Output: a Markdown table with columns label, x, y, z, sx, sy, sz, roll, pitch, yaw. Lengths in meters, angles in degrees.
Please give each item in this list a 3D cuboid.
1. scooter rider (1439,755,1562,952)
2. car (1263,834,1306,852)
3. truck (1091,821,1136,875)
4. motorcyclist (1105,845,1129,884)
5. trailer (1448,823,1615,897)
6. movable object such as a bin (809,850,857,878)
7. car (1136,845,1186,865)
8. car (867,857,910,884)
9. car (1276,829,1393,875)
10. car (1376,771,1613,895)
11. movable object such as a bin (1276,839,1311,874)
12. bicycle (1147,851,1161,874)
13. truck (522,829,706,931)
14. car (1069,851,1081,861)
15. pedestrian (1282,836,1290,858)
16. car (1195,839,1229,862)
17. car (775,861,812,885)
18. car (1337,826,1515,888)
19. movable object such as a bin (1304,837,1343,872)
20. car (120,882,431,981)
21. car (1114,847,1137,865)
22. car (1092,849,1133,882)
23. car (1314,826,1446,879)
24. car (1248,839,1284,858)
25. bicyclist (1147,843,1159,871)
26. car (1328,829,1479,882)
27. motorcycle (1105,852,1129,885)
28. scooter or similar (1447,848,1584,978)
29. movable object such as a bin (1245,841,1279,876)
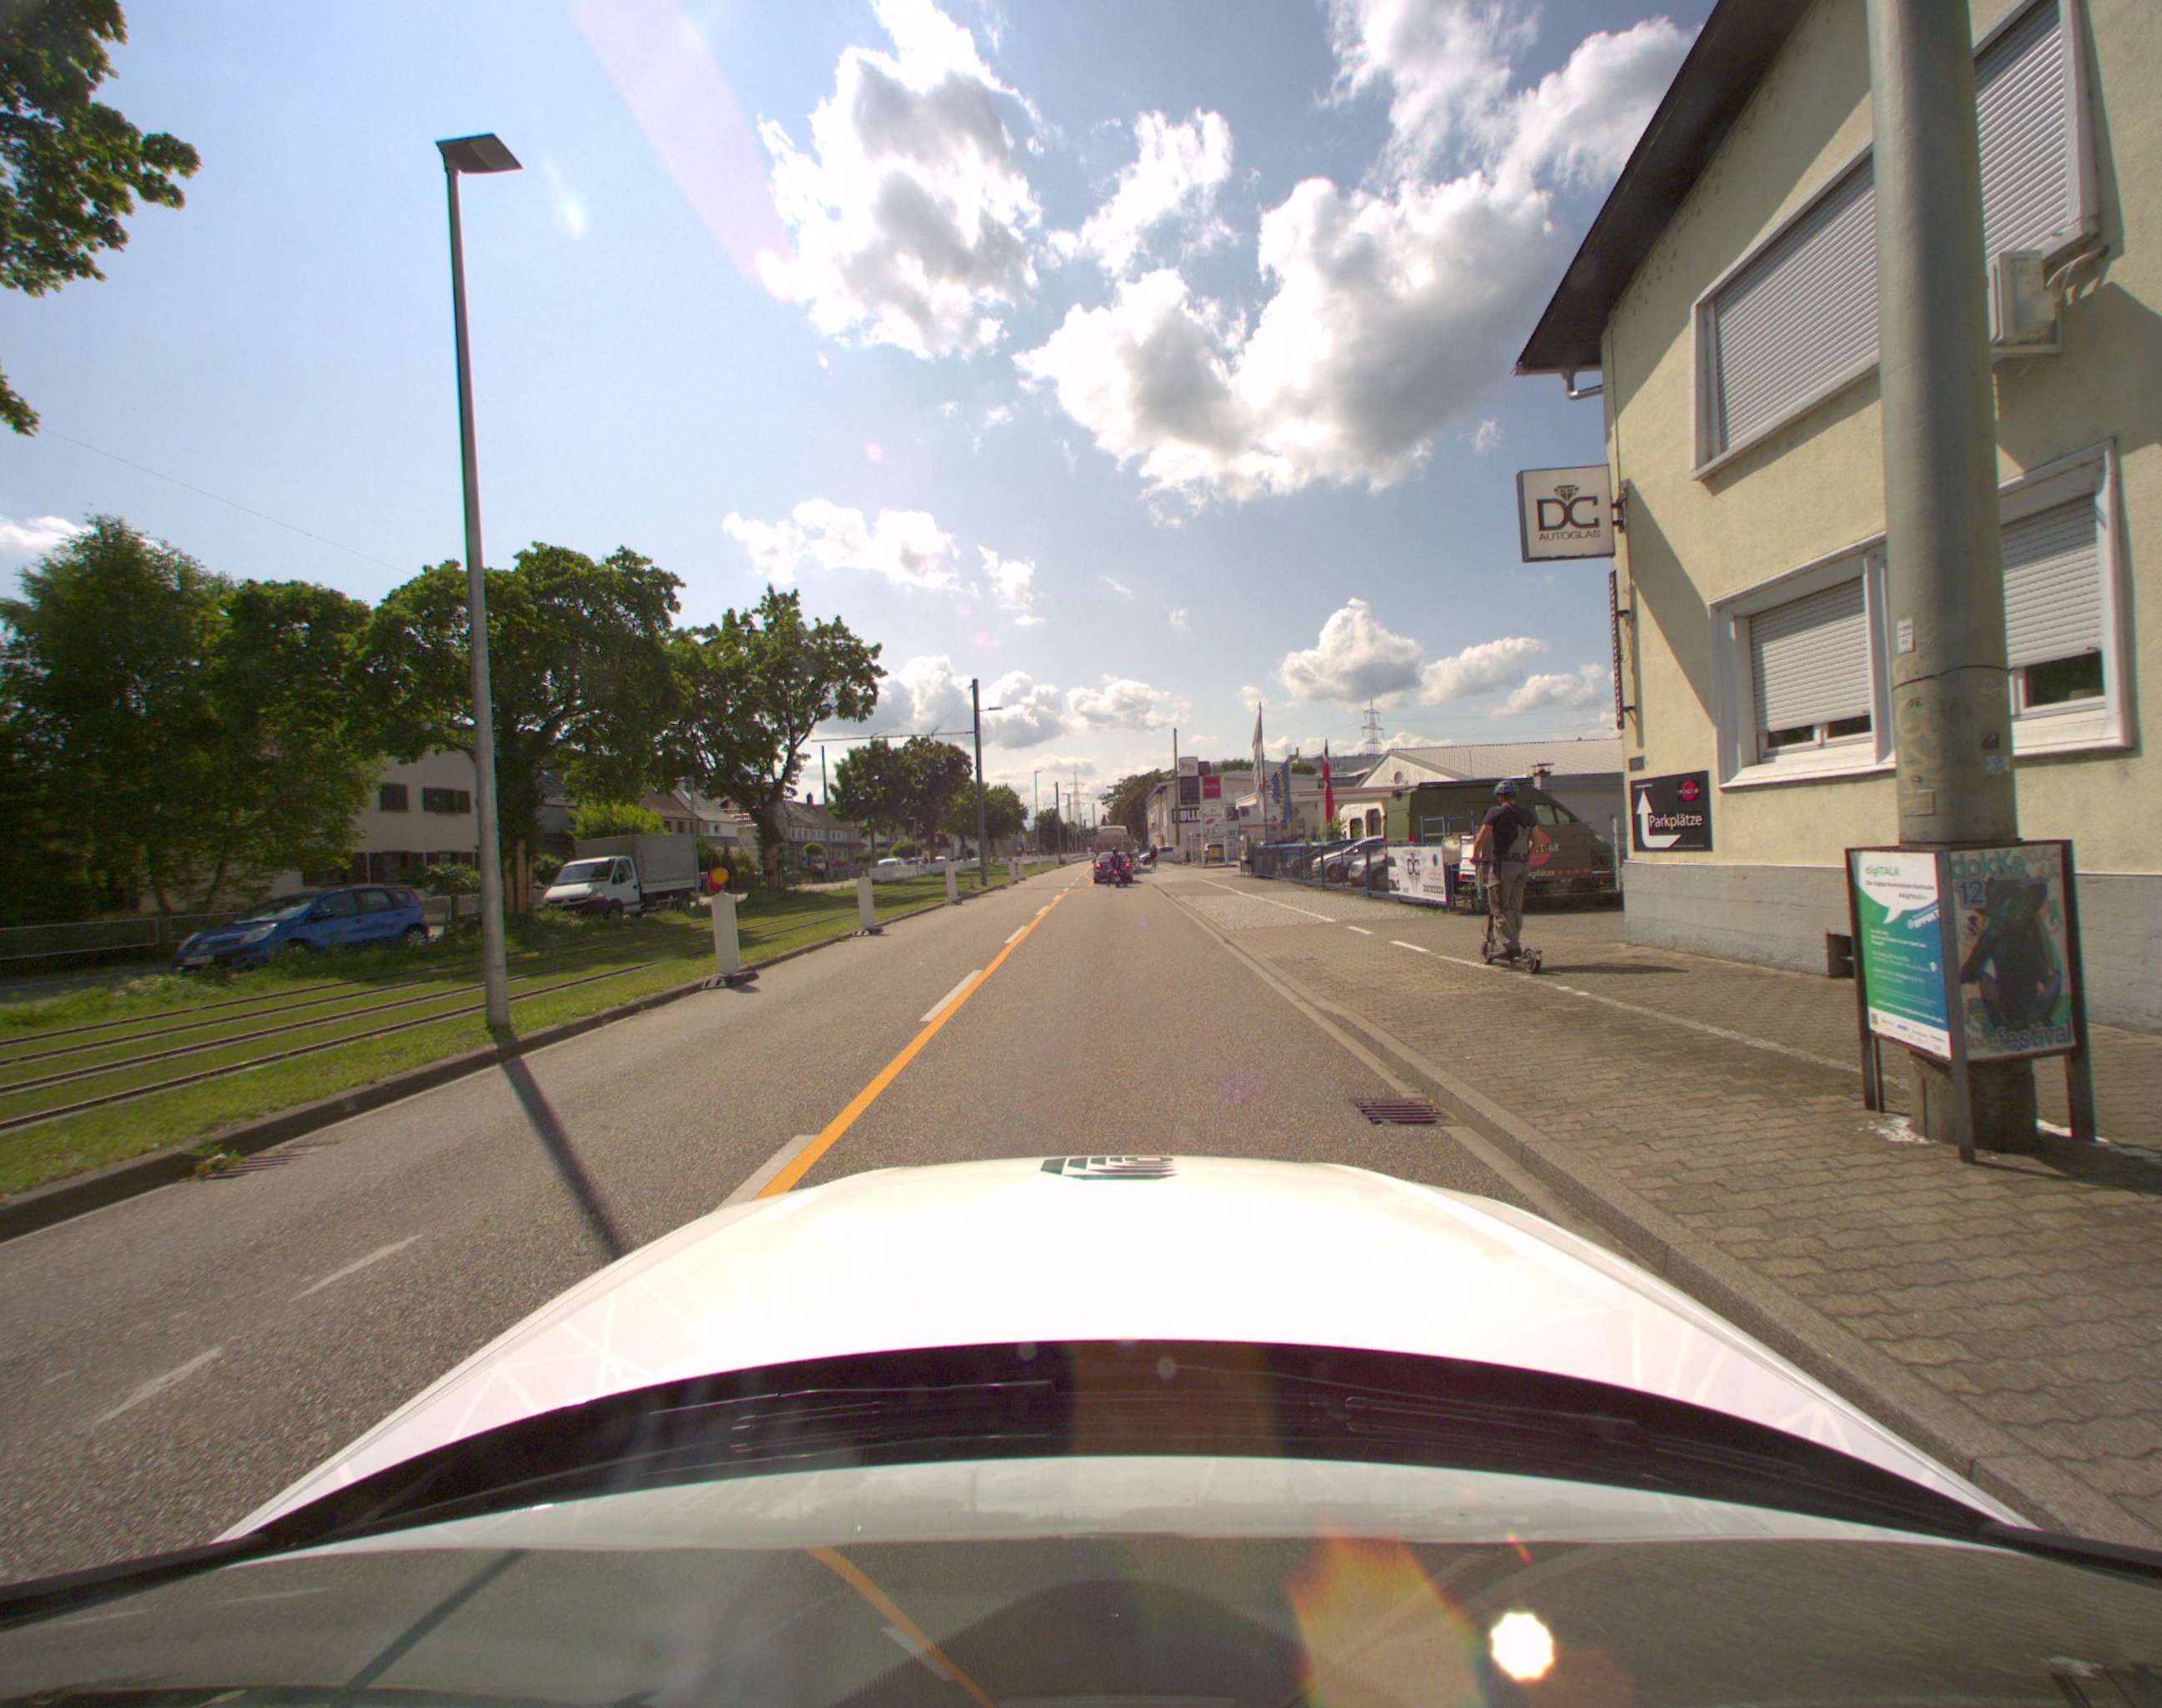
| label | x | y | z | sx | sy | sz | roll | pitch | yaw |
| --- | --- | --- | --- | --- | --- | --- | --- | --- | --- |
| scooter rider | 4.497 | 0.000 | 8.787 | 0.714 | 1.963 | 0.786 | -6 | -2 | 2 |
| car | 21.381 | -1.144 | 85.736 | 3.973 | 1.648 | 1.966 | -4 | -1 | 1 |
| truck | 2.220 | -0.484 | 55.381 | 2.600 | 3.255 | 9.189 | -4 | 1 | 3 |
| motorcyclist | 1.519 | 0.447 | 34.391 | 0.936 | 1.615 | 1.205 | -1 | 0 | 2 |
| trailer | 9.589 | 0.128 | 17.458 | 2.771 | 1.333 | 1.303 | -4 | 0 | 2 |
| movable object such as a bin | -24.508 | 0.999 | 80.441 | 4.351 | 2.449 | 1.777 | -3 | 0 | -20 |
| car | 7.465 | 0.081 | 76.349 | 4.325 | 1.551 | 1.946 | -4 | -1 | -7 |
| car | -14.109 | 1.176 | 59.838 | 1.986 | 1.750 | 4.002 | -4 | 0 | 2 |
| car | 9.386 | -0.051 | 30.167 | 3.954 | 1.442 | 1.719 | -3 | 0 | 19 |
| car | 9.810 | -0.469 | 19.660 | 4.517 | 2.573 | 2.153 | -3 | 0 | 3 |
| movable object such as a bin | 9.426 | 0.117 | 36.164 | 1.251 | 1.444 | 0.824 | -4 | -1 | 2 |
| bicycle | 4.678 | 0.523 | 52.453 | 0.690 | 1.361 | 2.419 | -3 | 0 | 2 |
| truck | -14.997 | 0.717 | 26.792 | 1.986 | 2.767 | 6.279 | -6 | 0 | 2 |
| car | -0.884 | 0.266 | 120.621 | 1.649 | 1.447 | 4.303 | -4 | 0 | 0 |
| pedestrian | 16.200 | -0.555 | 64.288 | 0.395 | 1.689 | 0.486 | -4 | -1 | 3 |
| car | 10.515 | -0.269 | 65.633 | 1.953 | 1.648 | 3.999 | -4 | 0 | 0 |
| car | -22.912 | 1.489 | 65.022 | 1.678 | 1.721 | 3.031 | -4 | 0 | 2 |
| car | 9.377 | 0.084 | 22.451 | 4.159 | 1.431 | 1.825 | -3 | 0 | 8 |
| movable object such as a bin | 10.747 | 0.042 | 36.157 | 1.318 | 1.444 | 0.953 | -4 | -1 | -5 |
| car | -15.340 | 1.389 | 15.897 | 1.987 | 1.453 | 4.000 | -4 | 0 | 0 |
| car | 3.676 | 0.143 | 68.214 | 1.814 | 1.464 | 4.003 | -2 | 0 | 2 |
| car | 1.517 | 0.529 | 39.050 | 1.815 | 1.424 | 4.002 | -2 | 0 | 2 |
| car | 9.932 | -0.032 | 27.294 | 3.956 | 1.496 | 1.758 | -3 | 0 | 17 |
| car | 15.034 | -0.432 | 66.234 | 1.953 | 1.420 | 3.999 | -4 | 0 | 0 |
| bicyclist | 4.616 | 0.183 | 52.283 | 0.669 | 1.744 | 0.814 | -3 | 0 | 1 |
| car | 9.728 | 0.050 | 24.836 | 3.962 | 1.356 | 1.825 | -3 | 0 | 10 |
| motorcycle | 1.525 | 0.600 | 34.572 | 0.936 | 1.320 | 2.646 | -1 | 0 | 2 |
| scooter or similar | 4.523 | 0.569 | 8.605 | 0.538 | 1.195 | 1.611 | -5 | -1 | 2 |
| movable object such as a bin | 8.061 | 0.195 | 36.309 | 1.251 | 1.444 | 0.824 | -4 | -1 | 2 |
